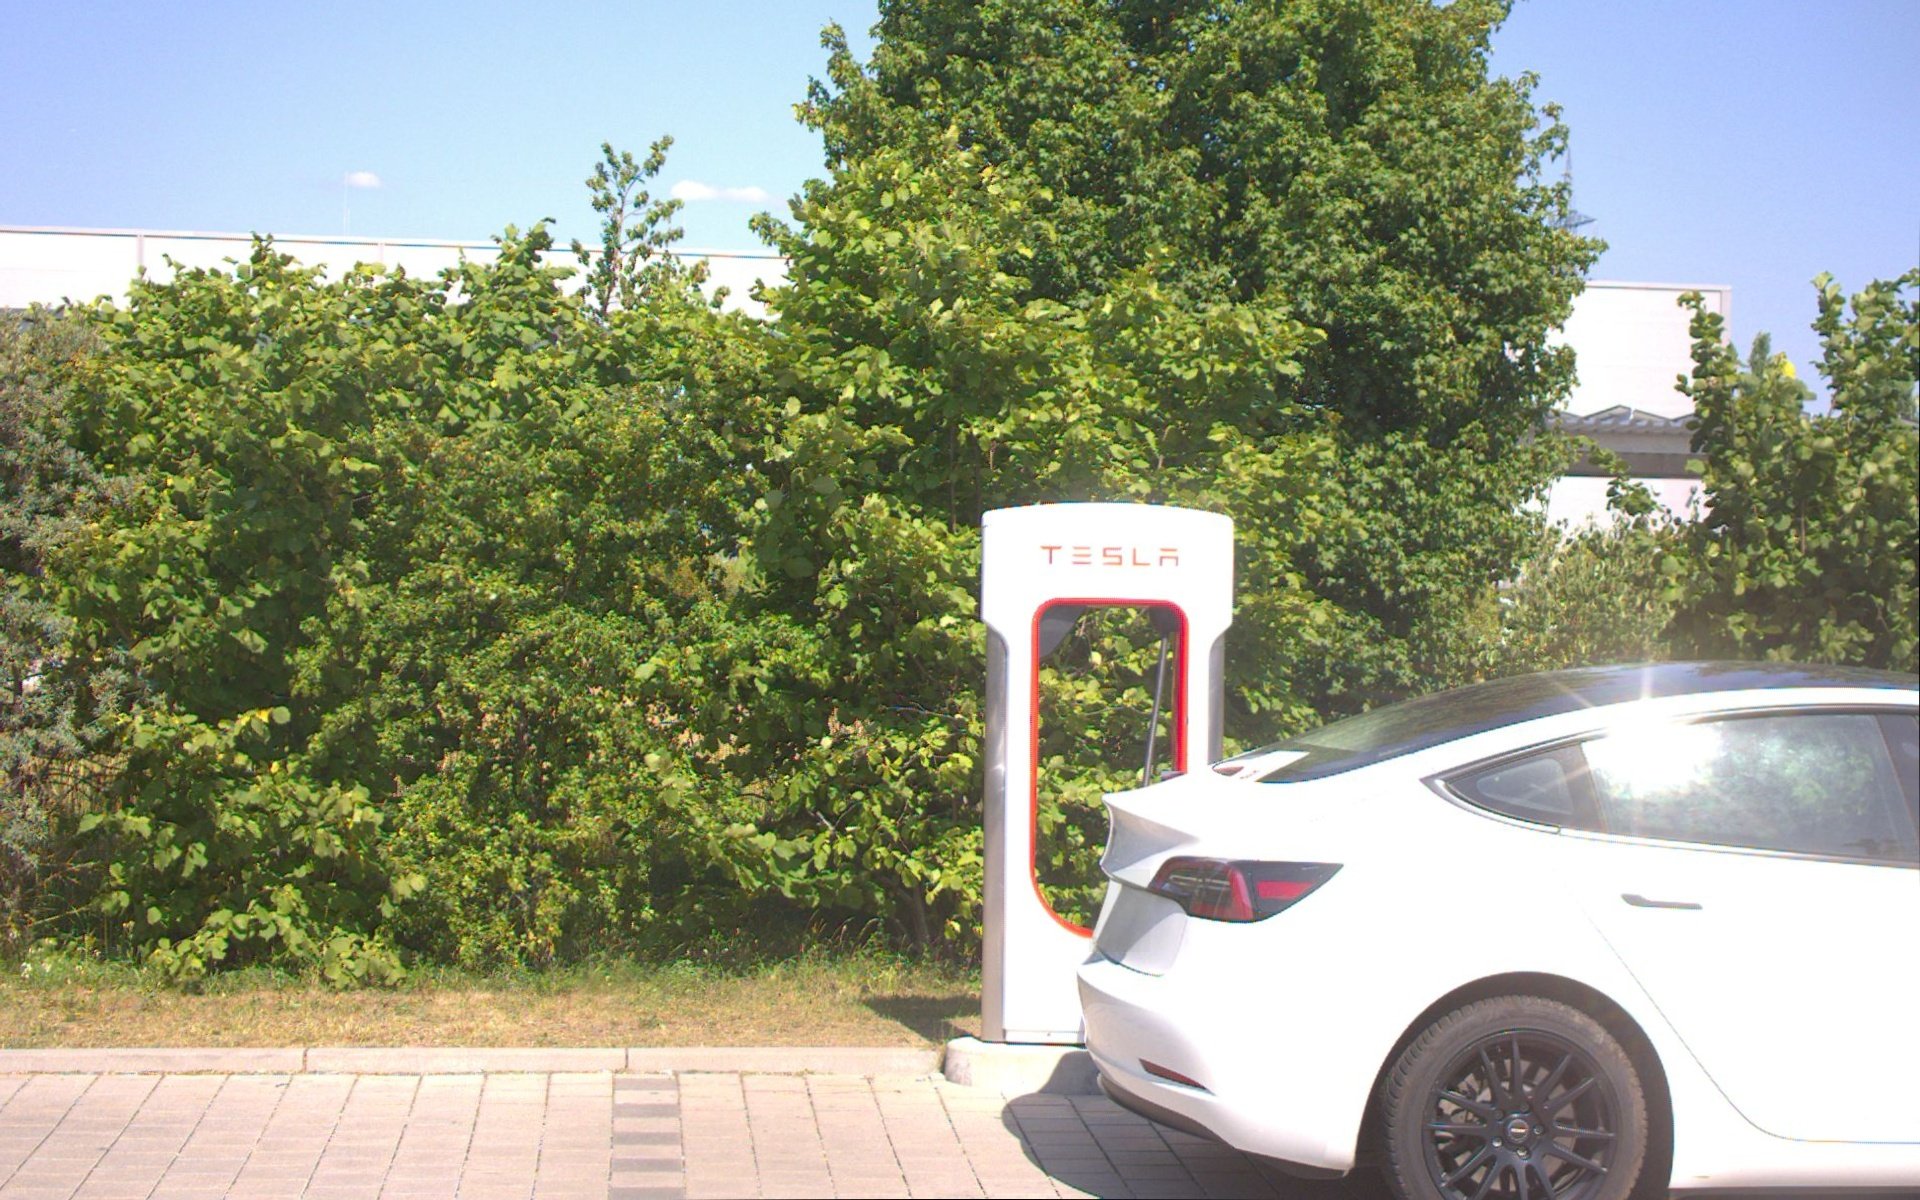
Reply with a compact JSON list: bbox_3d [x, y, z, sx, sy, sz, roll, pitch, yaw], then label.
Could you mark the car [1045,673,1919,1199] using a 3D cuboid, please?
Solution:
[{"bbox_3d":[2.550,0.934,9.287,4.433,1.373,1.823,1,1,-6],"label":"car"}]
